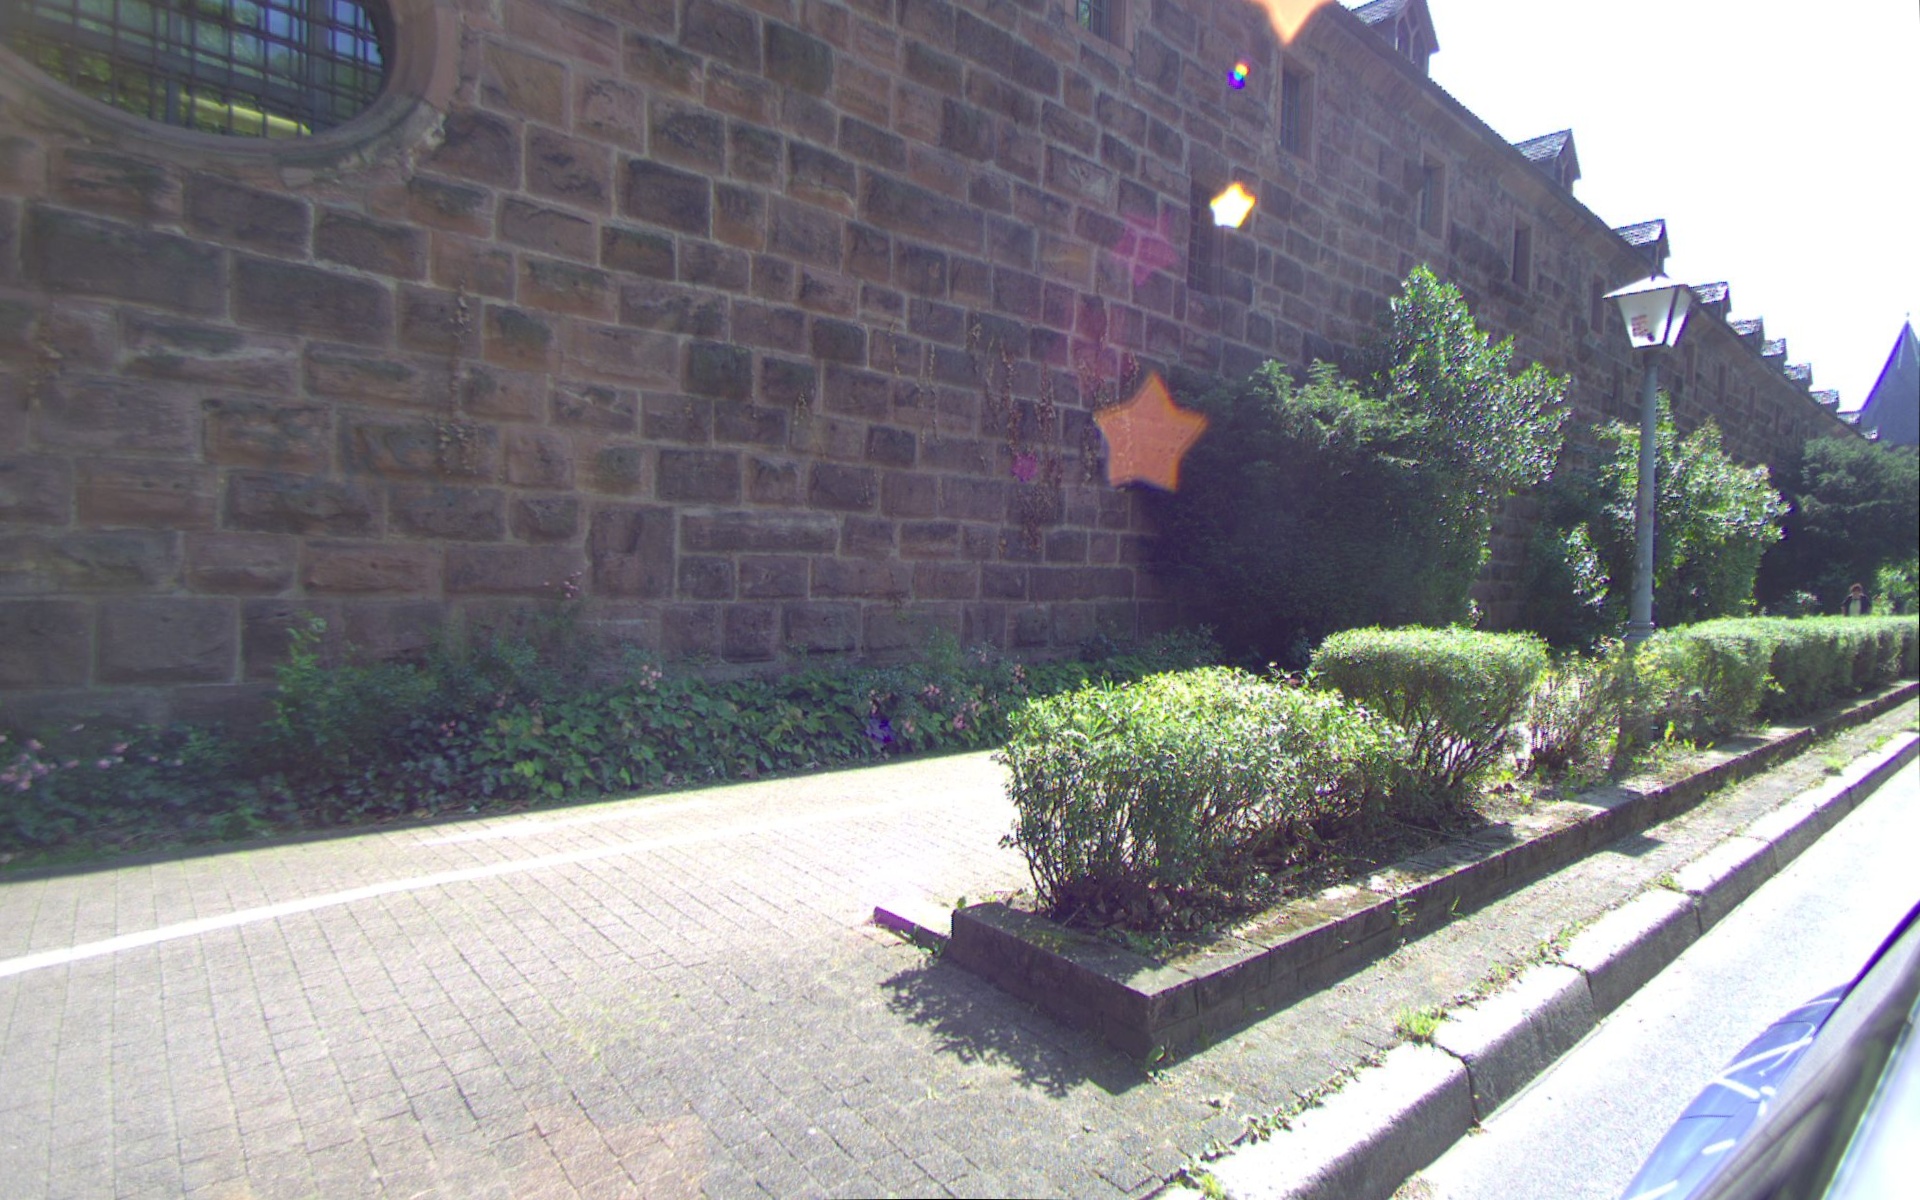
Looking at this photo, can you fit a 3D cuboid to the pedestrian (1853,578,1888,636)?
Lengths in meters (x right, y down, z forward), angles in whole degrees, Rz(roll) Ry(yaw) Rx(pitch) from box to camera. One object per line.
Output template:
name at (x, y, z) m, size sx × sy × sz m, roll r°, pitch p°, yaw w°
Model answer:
pedestrian at (25.091, 0.181, 27.880) m, size 0.554 × 1.583 × 0.642 m, roll 0°, pitch 0°, yaw -41°
